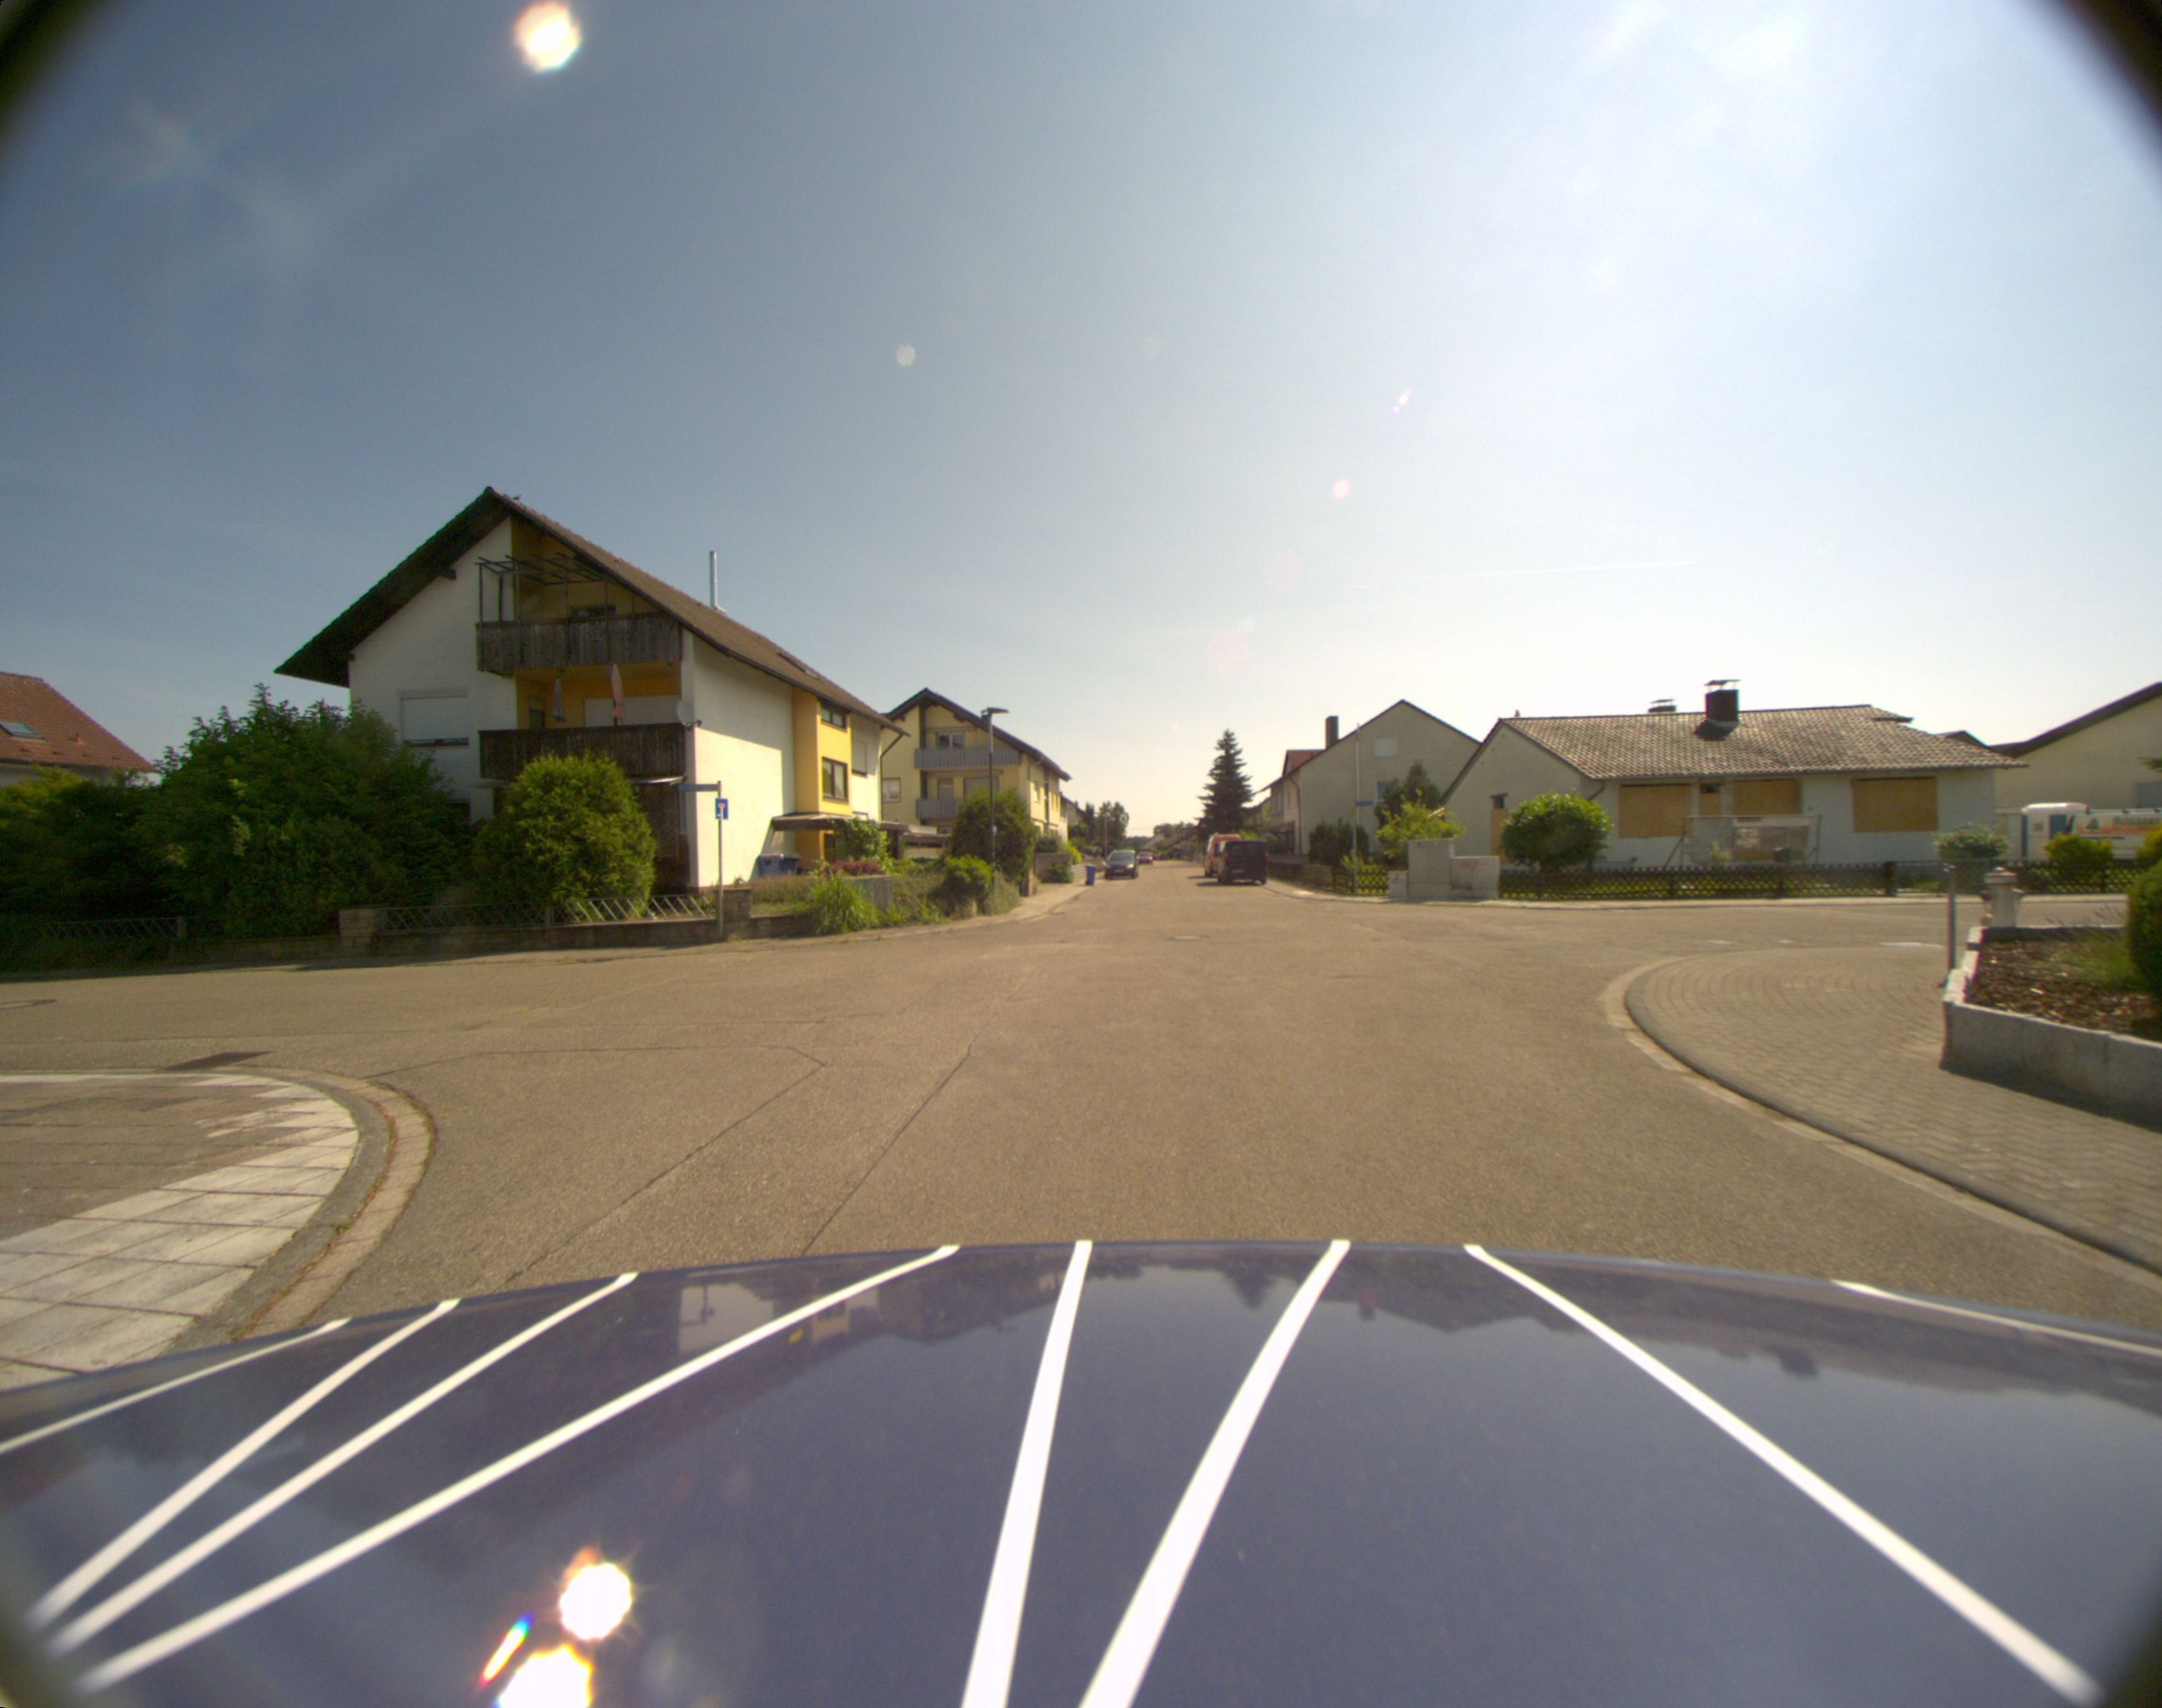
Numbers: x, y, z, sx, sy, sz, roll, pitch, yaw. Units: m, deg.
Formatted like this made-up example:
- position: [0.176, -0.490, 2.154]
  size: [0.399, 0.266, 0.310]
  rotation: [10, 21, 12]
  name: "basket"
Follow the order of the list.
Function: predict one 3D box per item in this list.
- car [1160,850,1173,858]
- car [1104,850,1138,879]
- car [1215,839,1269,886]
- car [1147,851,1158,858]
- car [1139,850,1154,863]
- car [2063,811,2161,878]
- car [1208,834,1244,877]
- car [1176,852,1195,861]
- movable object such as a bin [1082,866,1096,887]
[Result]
- position: [15.403, 0.005, 137.284]
  size: [1.709, 1.332, 4.000]
  rotation: [-2, -1, -2]
  name: "car"
- position: [2.403, 0.597, 44.536]
  size: [1.631, 1.616, 4.002]
  rotation: [-2, 0, 7]
  name: "car"
- position: [7.181, 0.342, 34.256]
  size: [1.869, 1.927, 4.205]
  rotation: [-2, 0, 5]
  name: "car"
- position: [14.119, 0.158, 150.021]
  size: [1.709, 1.332, 4.000]
  rotation: [-2, -1, -2]
  name: "car"
- position: [7.448, 0.326, 86.316]
  size: [1.517, 1.398, 3.678]
  rotation: [-2, 0, 3]
  name: "car"
- position: [33.494, -0.299, 22.791]
  size: [1.865, 2.002, 5.014]
  rotation: [-1, 1, 6]
  name: "car"
- position: [8.264, 0.076, 43.601]
  size: [1.554, 2.310, 4.205]
  rotation: [-2, 0, 5]
  name: "car"
- position: [20.087, 0.467, 146.171]
  size: [3.412, 1.521, 1.638]
  rotation: [-1, 1, -1]
  name: "car"
- position: [0.386, 1.044, 35.144]
  size: [0.584, 0.911, 0.598]
  rotation: [-2, 1, 5]
  name: "movable object such as a bin"
